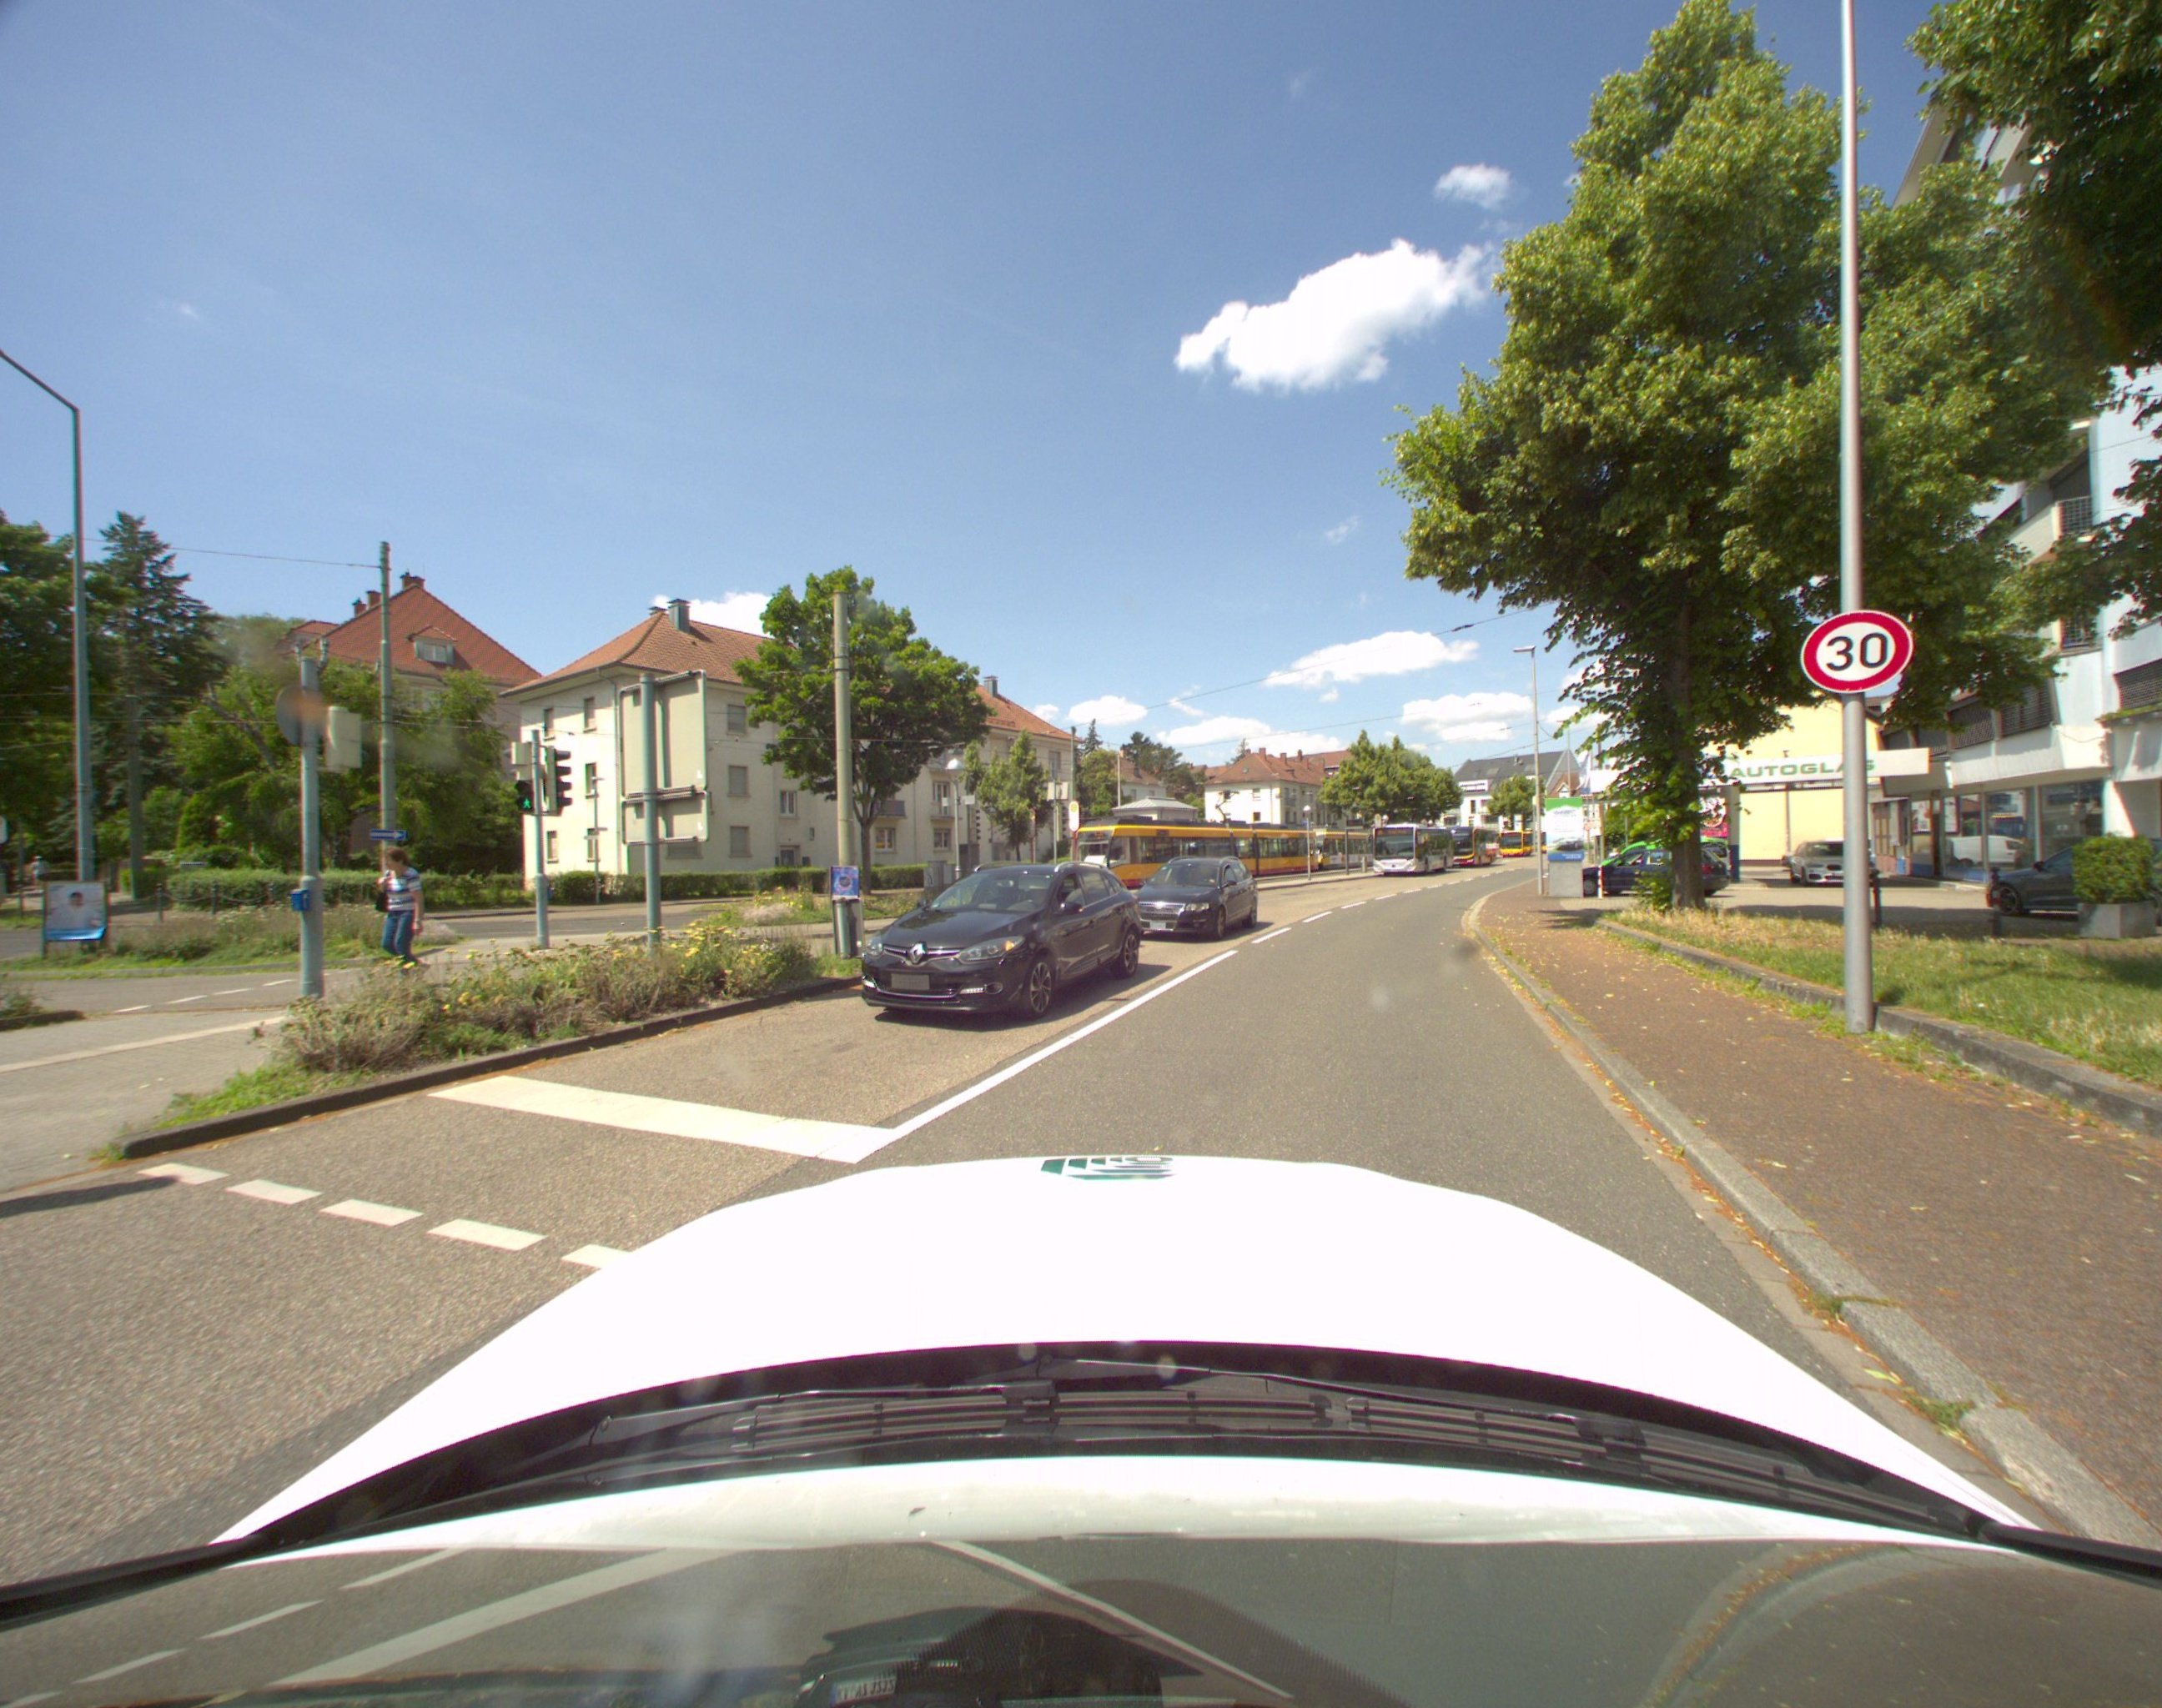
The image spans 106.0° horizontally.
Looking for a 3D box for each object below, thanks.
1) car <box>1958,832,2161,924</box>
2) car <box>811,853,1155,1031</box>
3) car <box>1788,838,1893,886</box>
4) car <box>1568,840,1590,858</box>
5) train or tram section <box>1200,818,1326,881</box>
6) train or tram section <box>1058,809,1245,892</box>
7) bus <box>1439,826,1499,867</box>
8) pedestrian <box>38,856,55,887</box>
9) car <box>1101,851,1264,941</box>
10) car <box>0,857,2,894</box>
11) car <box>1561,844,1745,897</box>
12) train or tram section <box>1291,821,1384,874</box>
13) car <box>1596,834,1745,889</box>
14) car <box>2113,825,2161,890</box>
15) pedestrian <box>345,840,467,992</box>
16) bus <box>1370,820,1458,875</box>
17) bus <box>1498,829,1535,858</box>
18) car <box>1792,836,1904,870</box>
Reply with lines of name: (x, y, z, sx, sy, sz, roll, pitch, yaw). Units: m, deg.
car: (18.078, 0.377, 14.229, 1.689, 1.429, 4.381, -1, -1, 15)
car: (-0.759, 0.749, 9.301, 1.976, 1.500, 4.449, -1, 0, 22)
car: (27.099, 0.264, 29.217, 1.988, 1.596, 4.316, -1, 0, 33)
car: (56.226, -0.550, 91.832, 1.790, 1.981, 4.026, -1, 0, 36)
train or tram section: (12.368, -0.297, 53.507, 2.758, 3.568, 14.799, -1, 0, 34)
train or tram section: (4.185, -0.183, 41.517, 2.782, 3.568, 14.271, -1, 0, 34)
bus: (32.430, -0.600, 67.752, 2.704, 3.129, 12.084, -1, 0, 34)
pedestrian: (-54.998, 0.926, 43.289, 0.460, 1.656, 0.513, -1, -1, 42)
car: (2.202, 0.717, 16.309, 1.976, 1.519, 4.537, -1, 0, 24)
car: (-54.734, 1.069, 40.022, 3.948, 1.807, 2.013, 0, -1, 36)
car: (17.136, 0.504, 24.596, 1.909, 1.439, 4.129, -1, -1, -33)
train or tram section: (21.397, -0.503, 66.893, 2.758, 3.895, 15.651, -1, 0, 34)
car: (20.750, 0.271, 28.884, 1.839, 1.794, 4.005, -1, -1, -14)
car: (27.261, 0.063, 19.462, 1.974, 1.585, 4.410, -1, 0, 35)
pedestrian: (-7.945, 0.694, 9.611, 0.753, 1.705, 0.842, -1, 0, 22)
bus: (21.359, -0.391, 51.688, 2.704, 3.129, 12.084, -1, 0, 34)
bus: (52.357, -1.252, 97.804, 2.704, 3.219, 11.119, -1, 0, 34)
car: (43.314, -0.093, 46.118, 4.263, 1.809, 2.013, 0, 2, 30)
